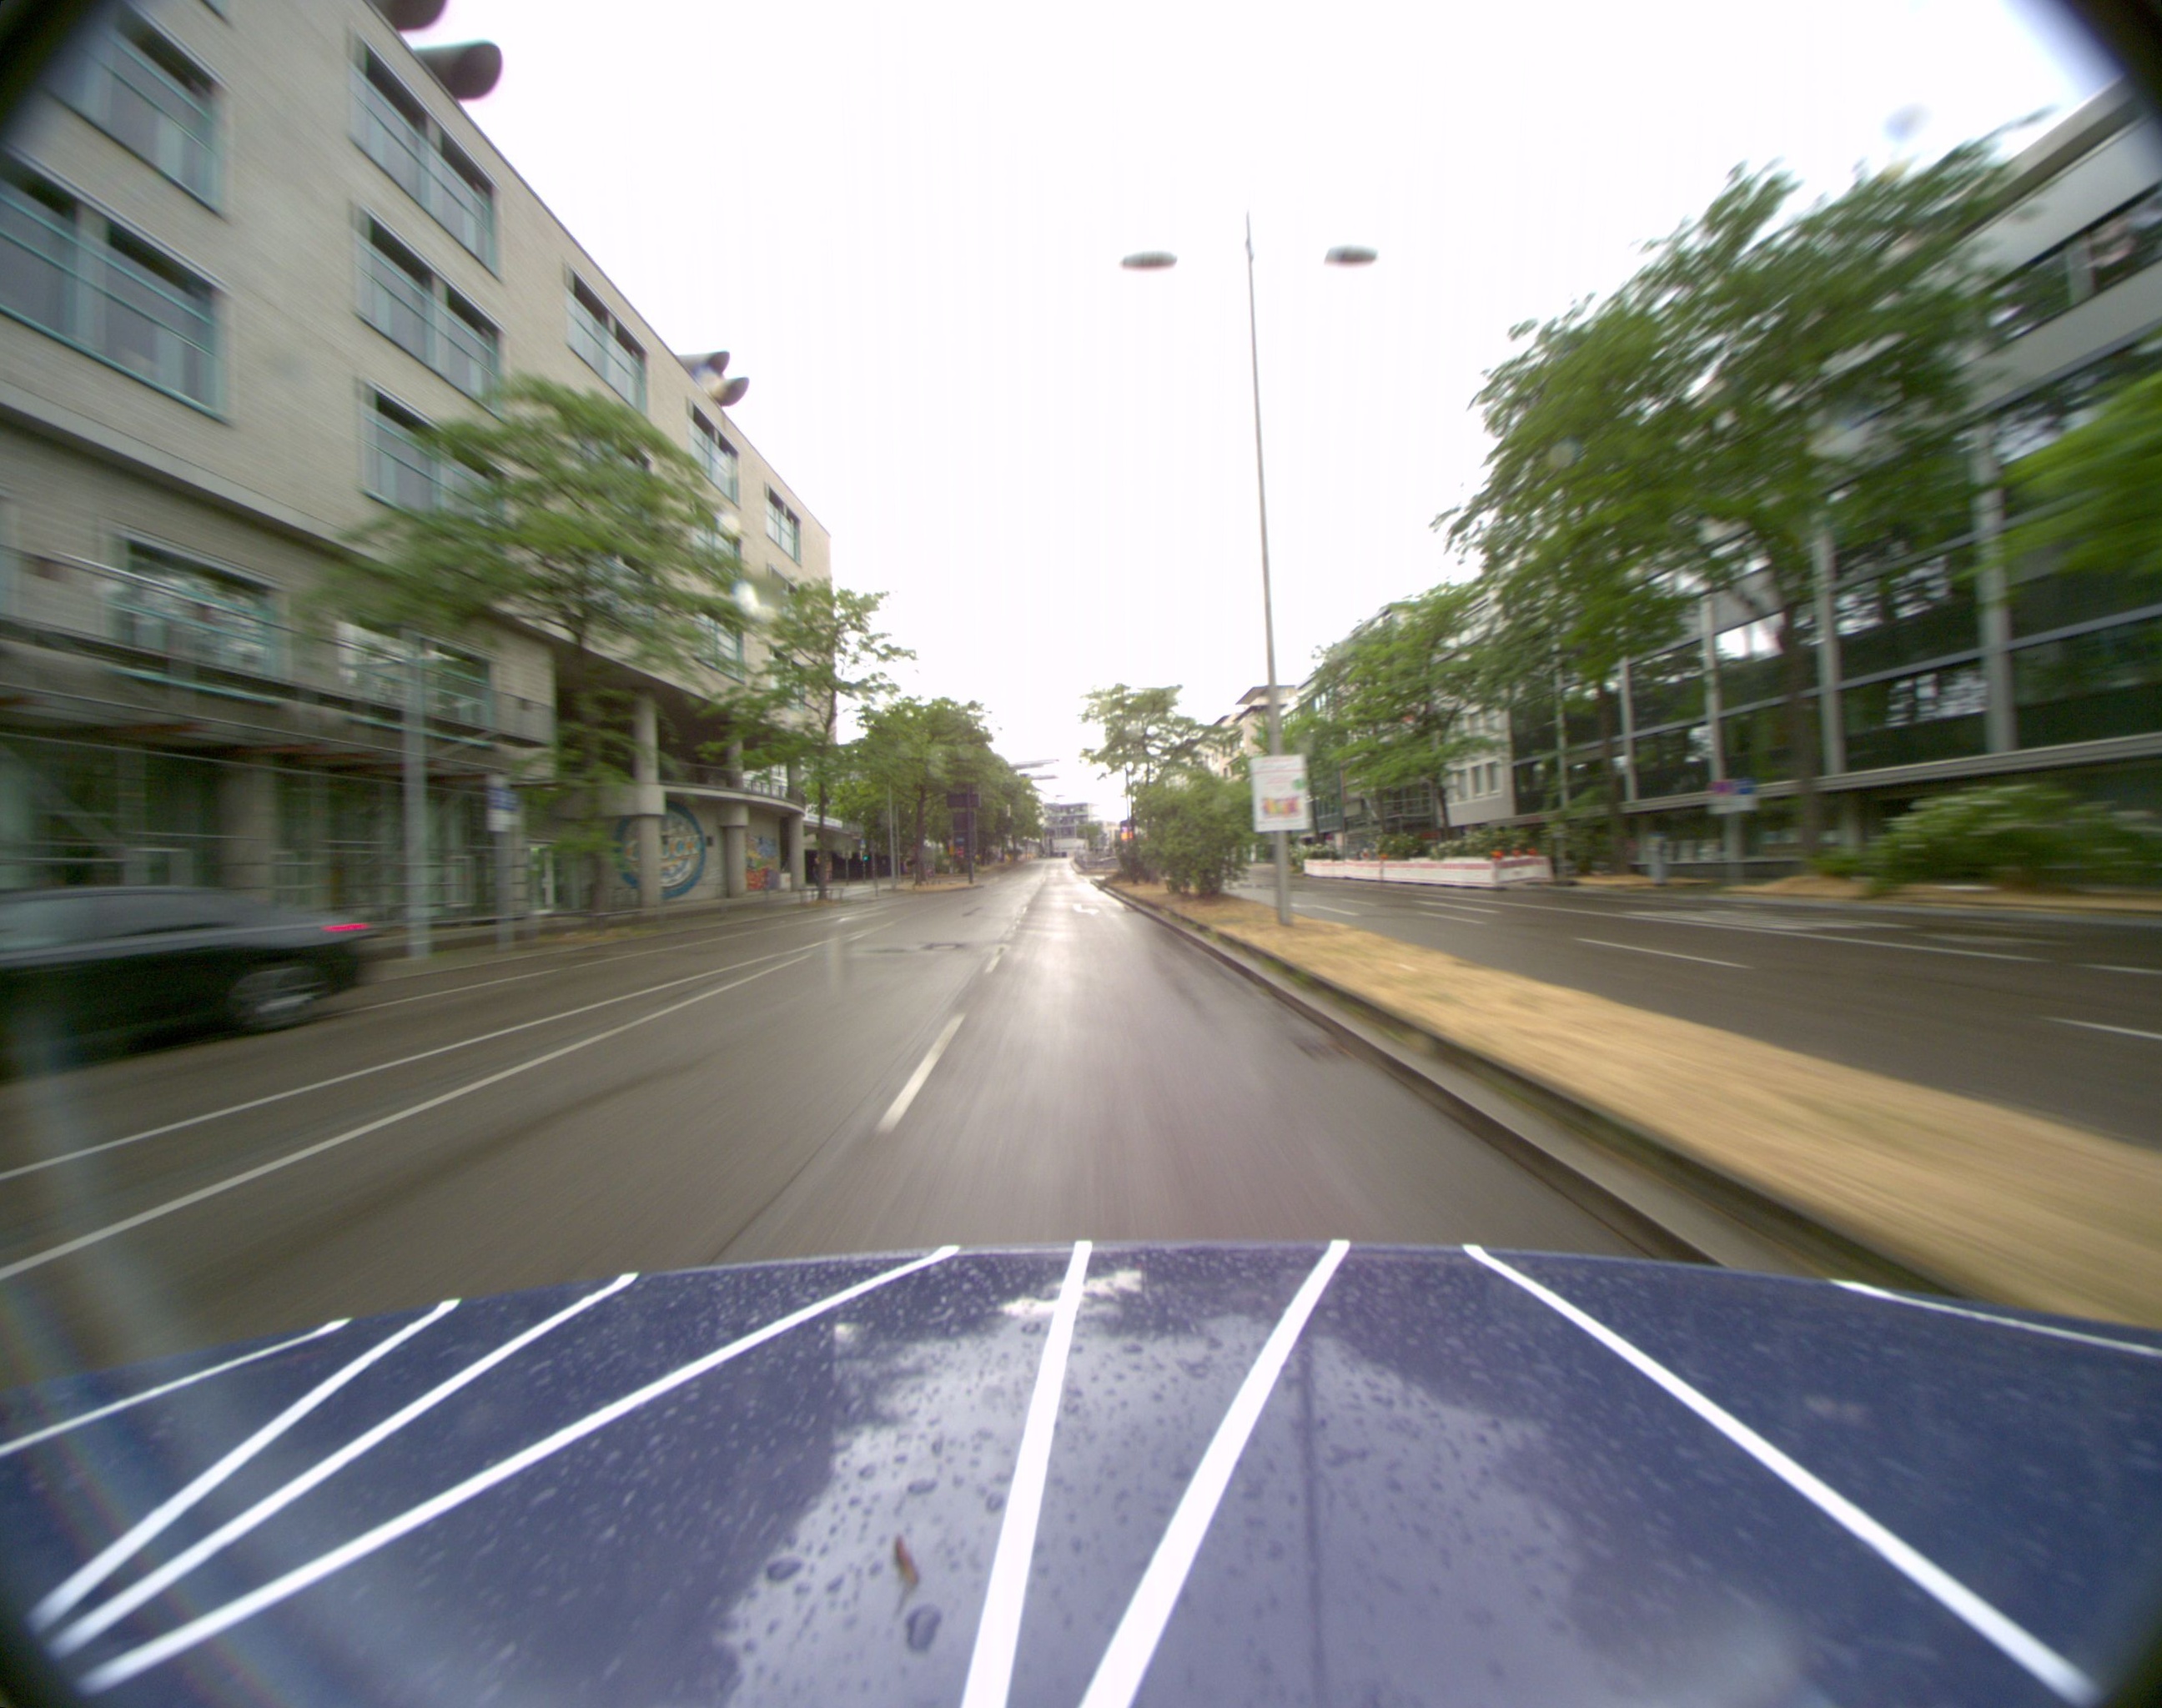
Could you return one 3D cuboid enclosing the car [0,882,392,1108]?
[{"bbox_3d":[-9.139,1.150,6.132,1.998,1.591,5.291,-2,0,5],"label":"car"}]

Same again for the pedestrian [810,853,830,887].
[{"bbox_3d":[-15.664,0.936,45.604,0.871,2.002,0.758,-2,1,-2],"label":"pedestrian"}]

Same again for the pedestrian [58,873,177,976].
[{"bbox_3d":[-15.866,1.131,12.539,0.705,1.587,0.923,-2,1,0],"label":"pedestrian"}]
